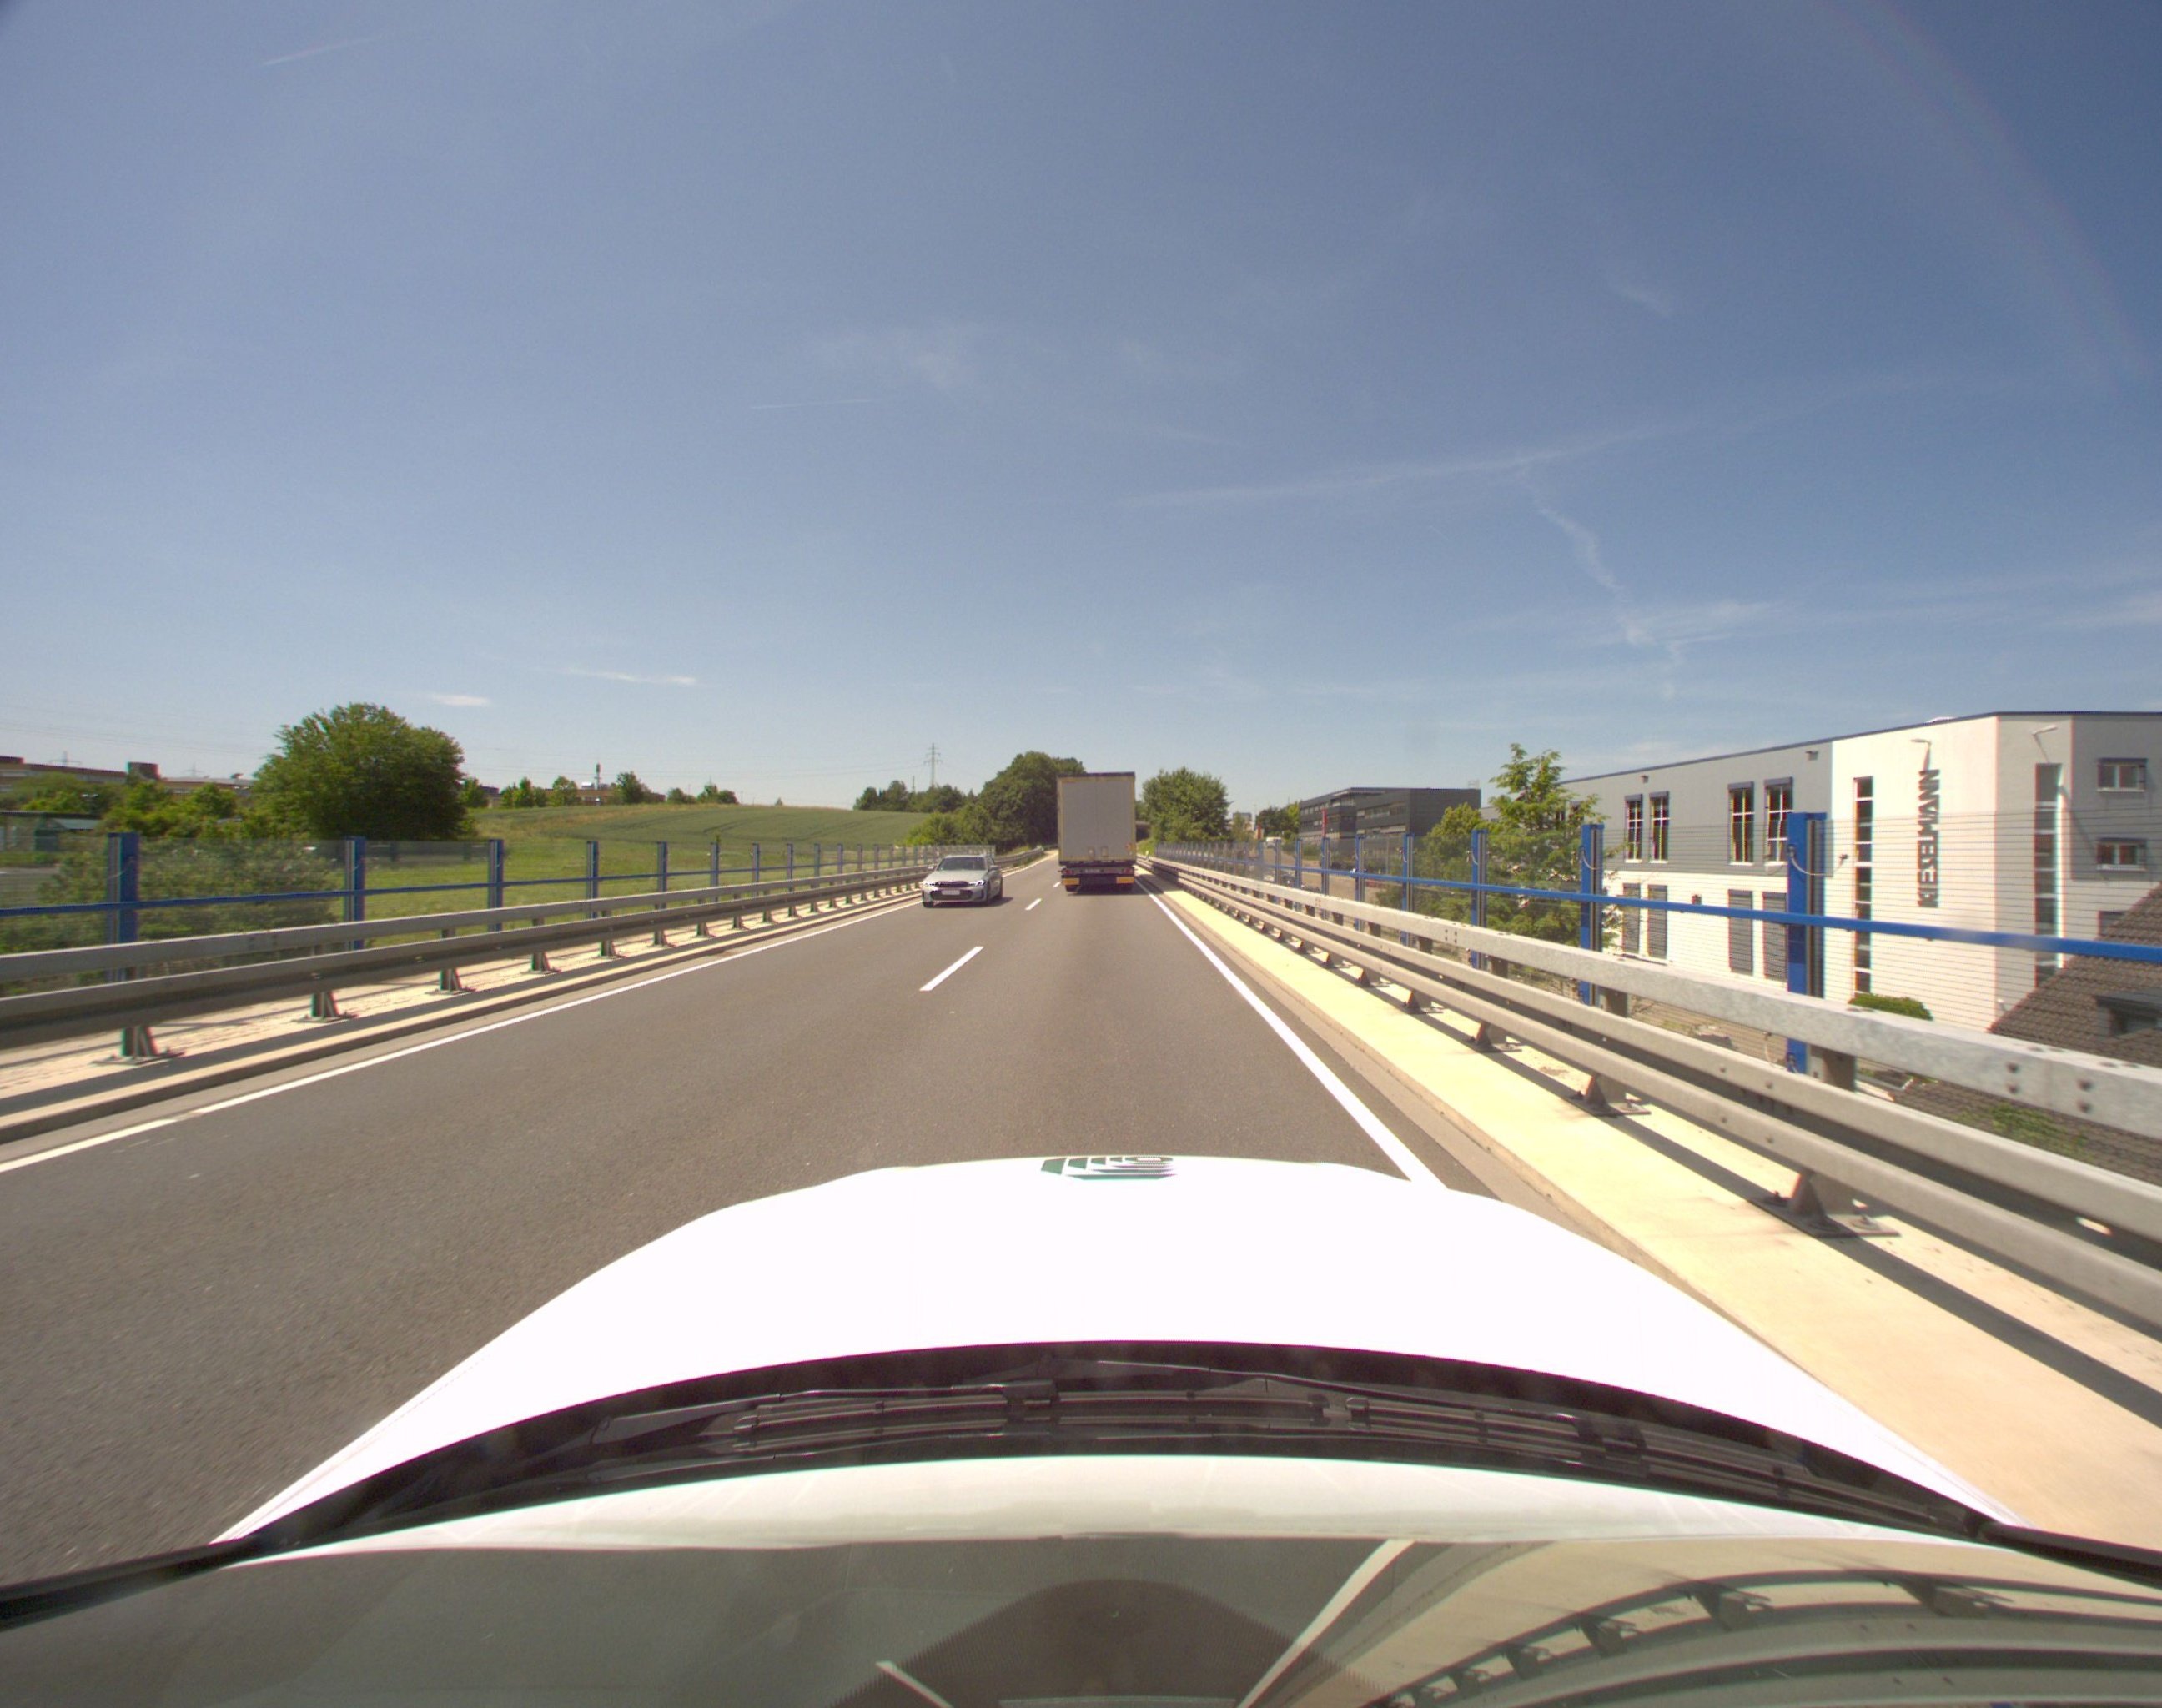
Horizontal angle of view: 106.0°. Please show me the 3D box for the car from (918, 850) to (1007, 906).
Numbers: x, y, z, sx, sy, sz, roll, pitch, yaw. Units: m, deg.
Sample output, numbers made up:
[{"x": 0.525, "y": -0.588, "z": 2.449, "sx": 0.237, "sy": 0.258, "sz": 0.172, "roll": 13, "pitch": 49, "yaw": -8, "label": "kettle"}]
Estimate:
[{"x": -3.336, "y": 0.610, "z": 23.864, "sx": 1.775, "sy": 1.435, "sz": 4.835, "roll": -2, "pitch": 0, "yaw": 1, "label": "car"}]

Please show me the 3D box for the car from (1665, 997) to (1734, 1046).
[{"x": 27.408, "y": 7.392, "z": 36.236, "sx": 1.706, "sy": 1.367, "sz": 4.023, "roll": 6, "pitch": 0, "yaw": 28, "label": "car"}]

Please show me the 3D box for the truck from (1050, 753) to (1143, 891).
[{"x": 0.571, "y": -0.970, "z": 30.971, "sx": 2.856, "sy": 4.359, "sz": 9.789, "roll": -2, "pitch": -1, "yaw": 1, "label": "truck"}]
